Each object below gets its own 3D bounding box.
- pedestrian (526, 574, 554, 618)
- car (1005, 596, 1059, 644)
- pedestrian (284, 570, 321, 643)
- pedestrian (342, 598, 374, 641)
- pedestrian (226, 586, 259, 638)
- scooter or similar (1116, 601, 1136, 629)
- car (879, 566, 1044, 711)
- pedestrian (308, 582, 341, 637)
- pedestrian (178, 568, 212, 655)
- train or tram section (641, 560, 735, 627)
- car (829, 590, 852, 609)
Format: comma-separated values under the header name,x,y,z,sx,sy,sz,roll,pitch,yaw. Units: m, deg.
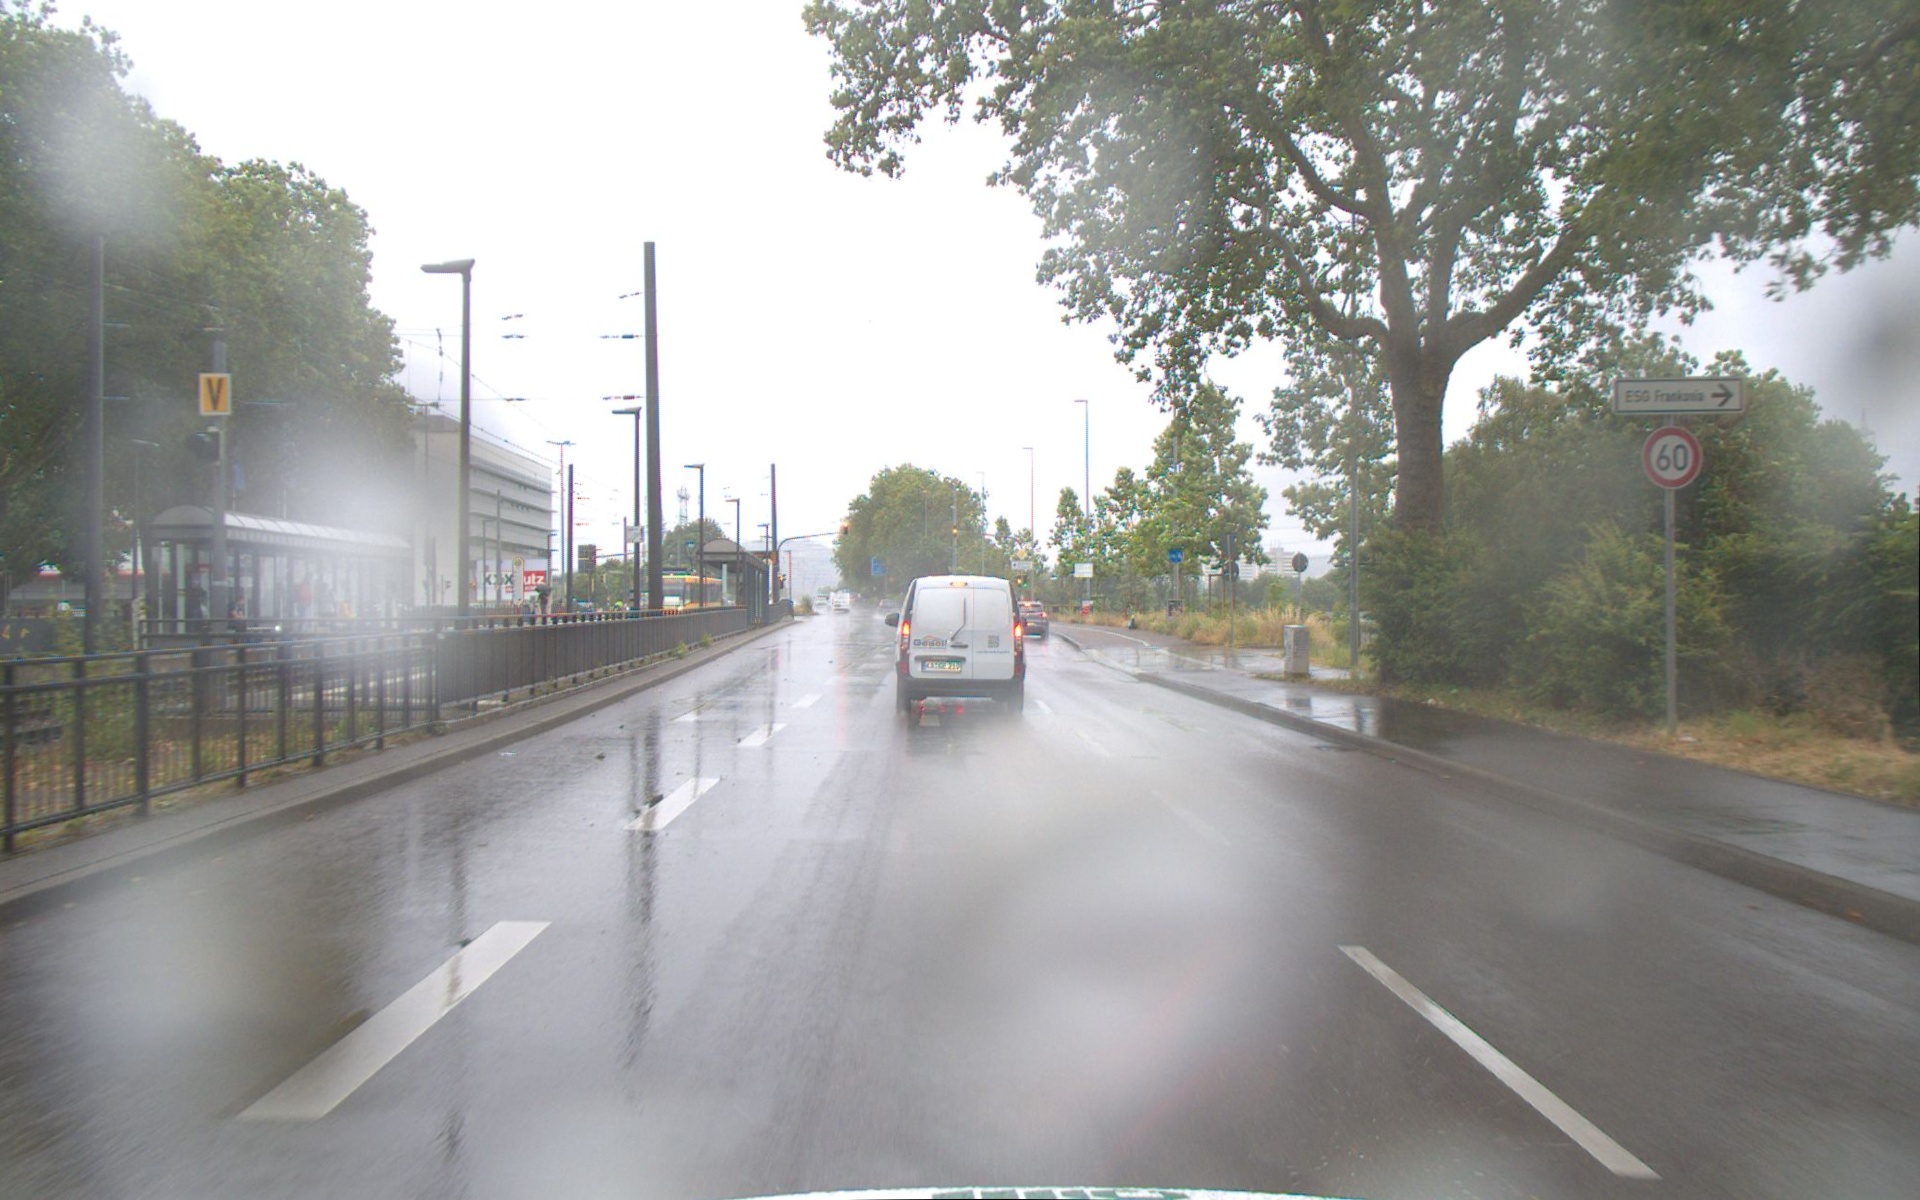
name,x,y,z,sx,sy,sz,roll,pitch,yaw
pedestrian,-20.133,-0.185,79.253,1.067,2.049,1.095,2,0,-4
car,2.799,0.757,65.207,1.952,1.780,4.000,2,0,1
pedestrian,-18.217,0.181,45.821,0.608,1.967,0.814,1,-1,2
pedestrian,-18.742,0.609,51.473,0.630,1.326,0.815,1,0,2
pedestrian,-18.075,0.291,41.676,0.483,1.290,0.664,1,0,2
scooter or similar,7.360,0.650,73.305,0.630,1.216,1.561,0,0,-4
car,-0.085,0.498,23.237,1.985,1.806,4.270,2,0,-4
pedestrian,-18.799,0.275,48.902,0.815,1.589,0.667,2,-1,-28
pedestrian,-18.198,0.264,39.349,0.483,2.049,0.582,1,-1,-1
train or tram section,-19.082,-0.368,118.388,3.695,4.107,27.073,2,0,-3
car,-11.525,-0.040,159.246,1.956,1.780,3.993,2,0,-8
